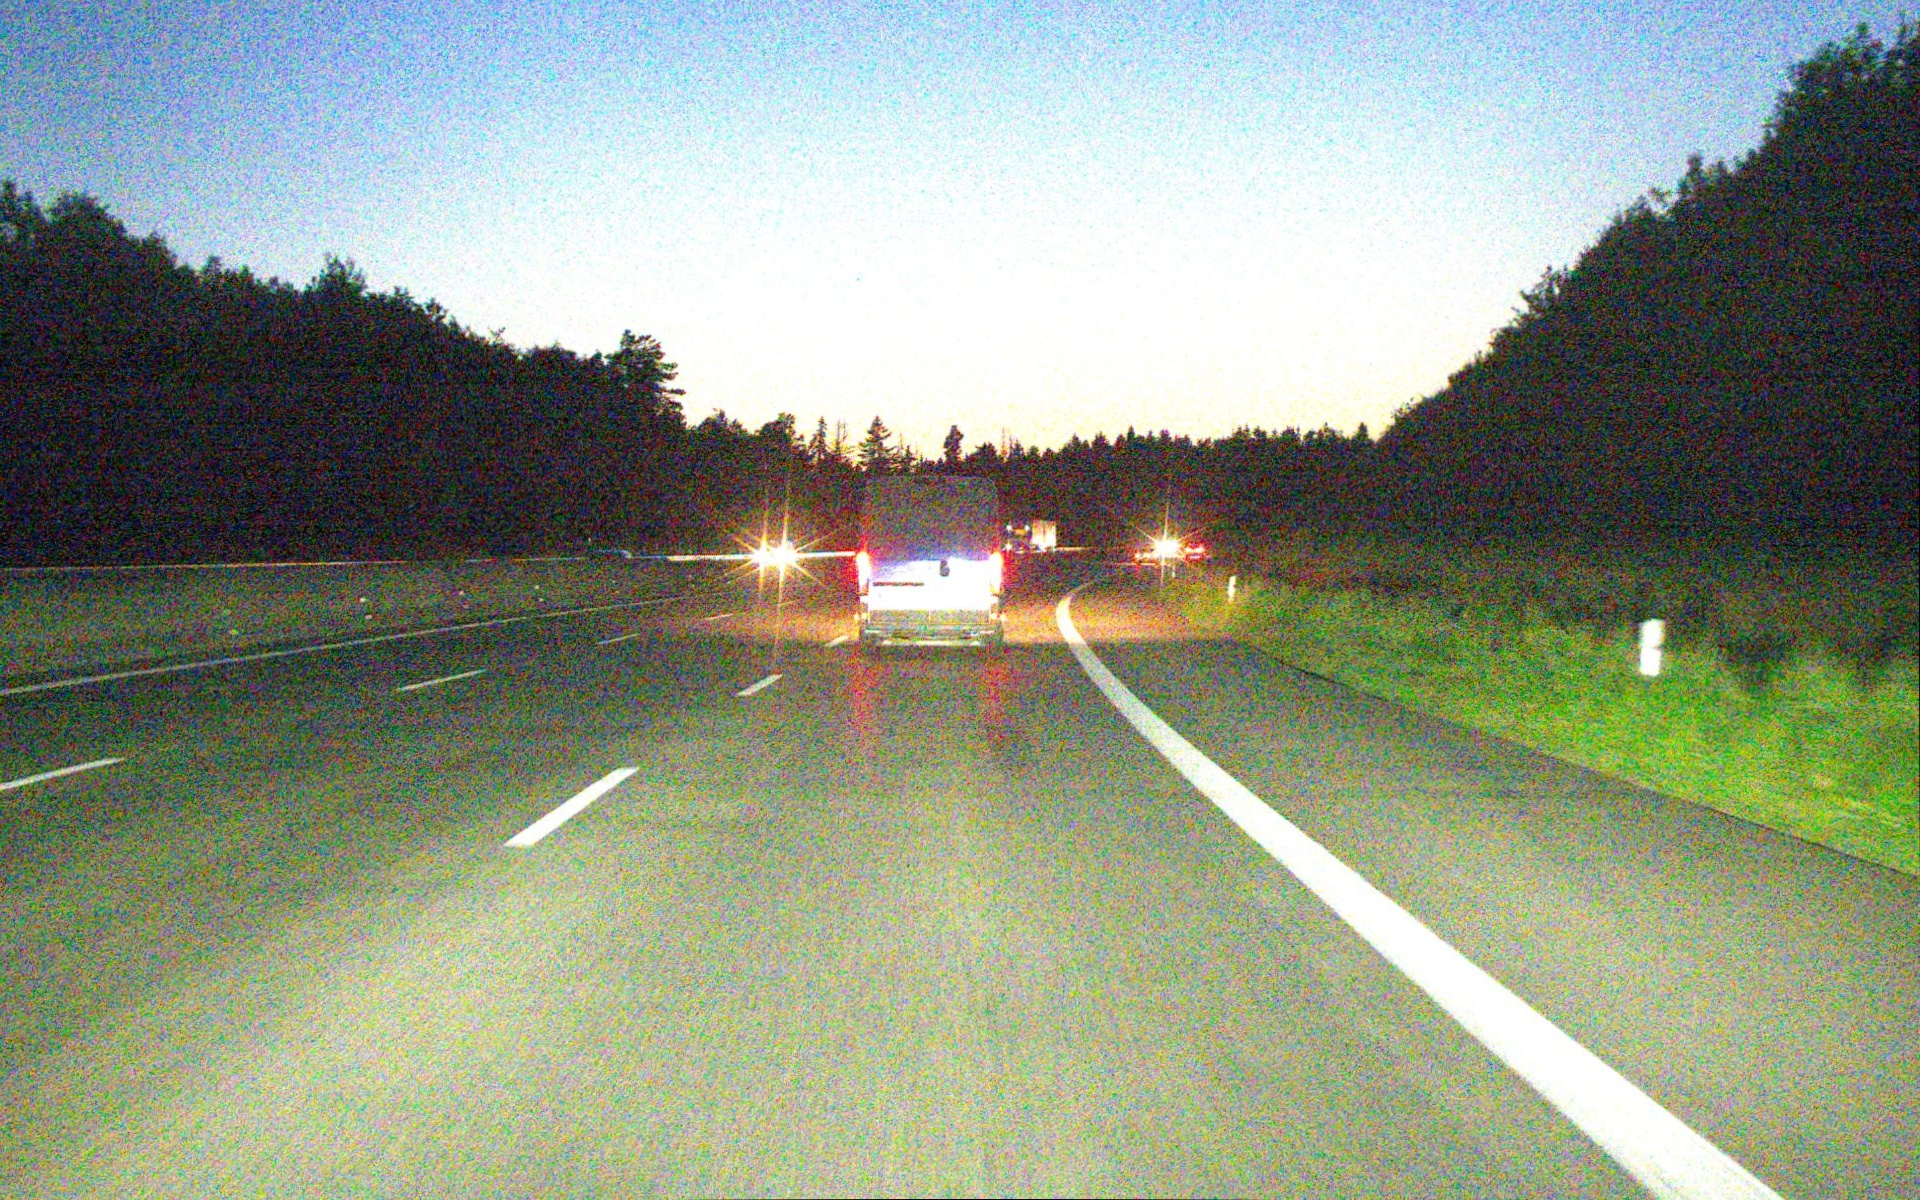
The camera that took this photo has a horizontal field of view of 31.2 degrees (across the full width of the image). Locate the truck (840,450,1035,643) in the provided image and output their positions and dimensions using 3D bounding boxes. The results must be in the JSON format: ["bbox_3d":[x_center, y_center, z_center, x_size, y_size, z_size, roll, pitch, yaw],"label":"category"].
[{"bbox_3d":[-0.397,-0.764,51.075,2.630,2.615,8.685,0,0,-1],"label":"truck"}]
